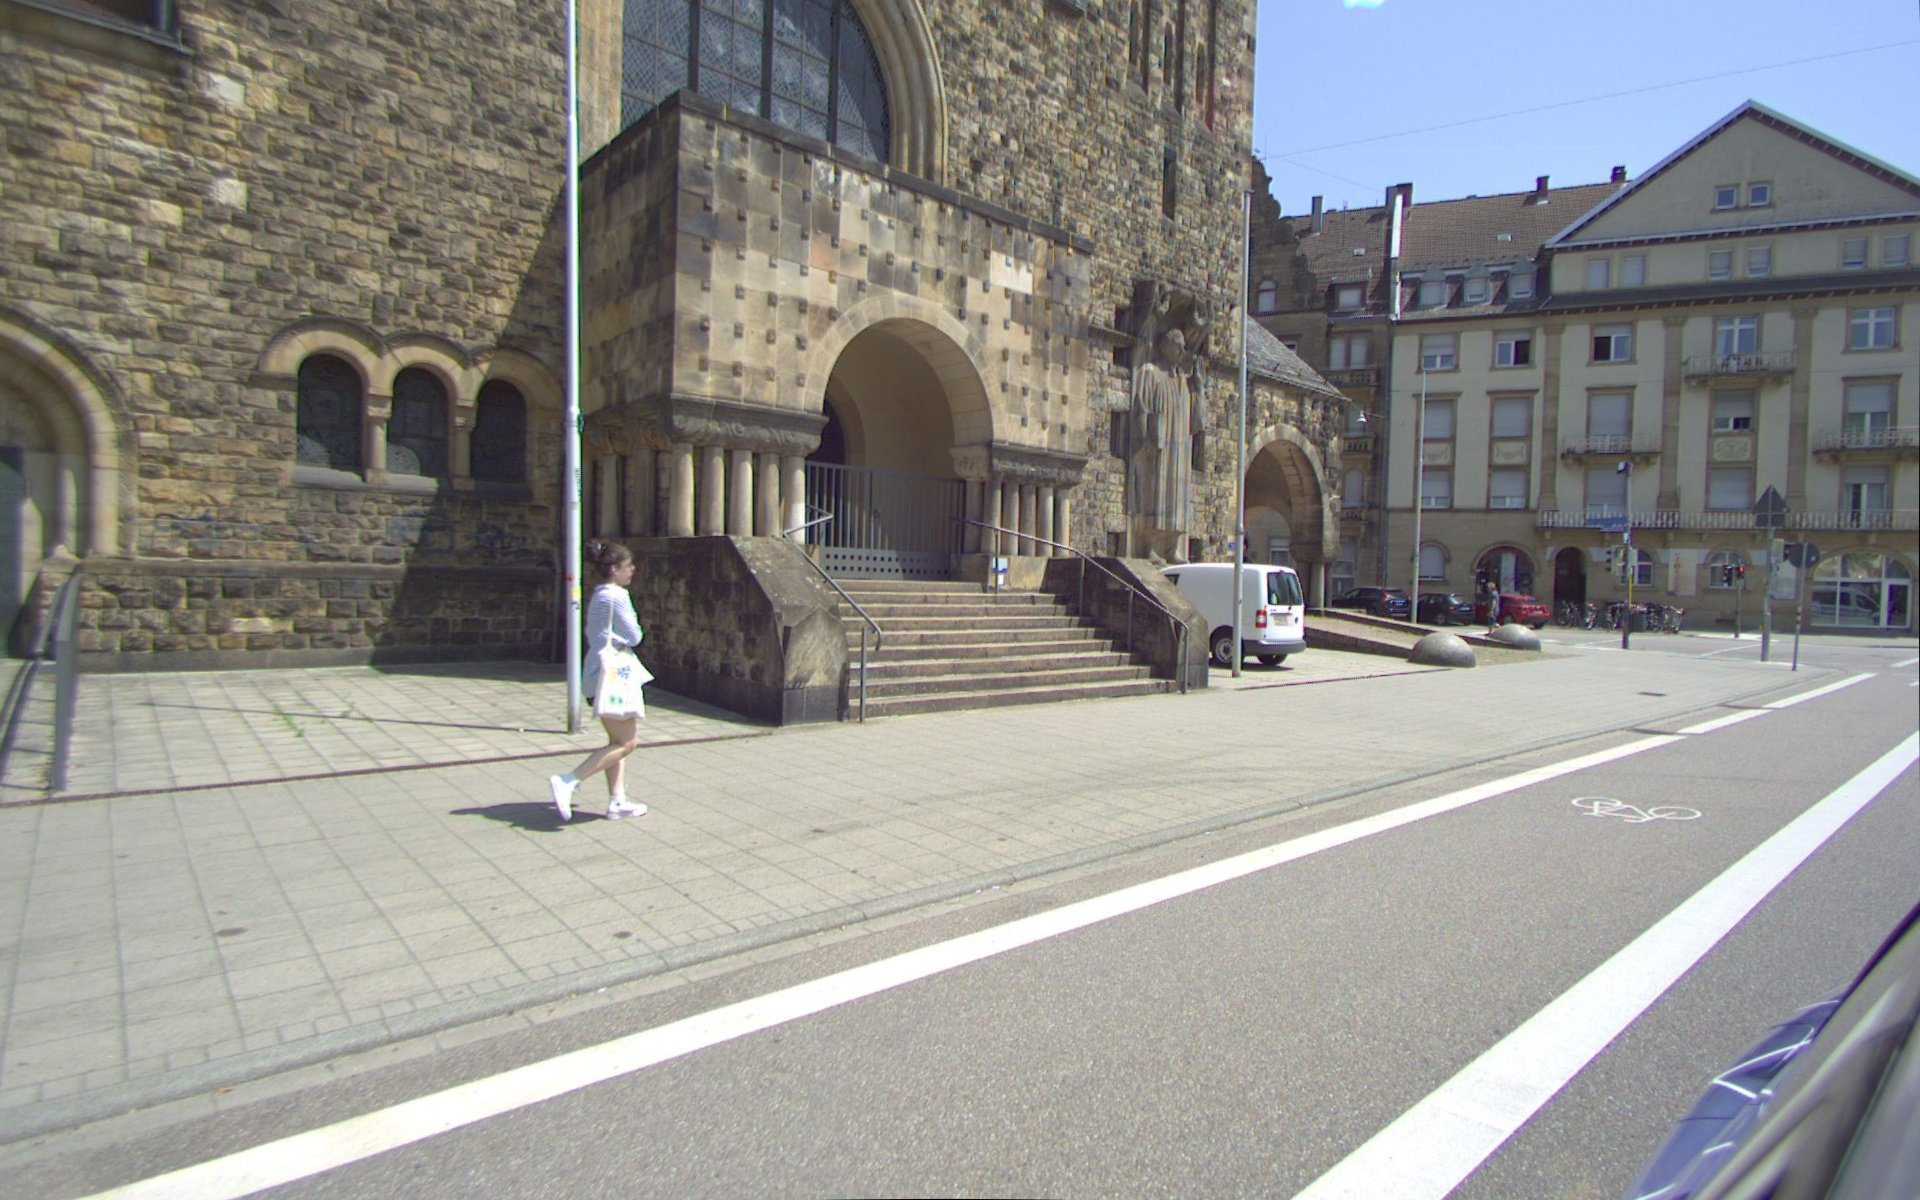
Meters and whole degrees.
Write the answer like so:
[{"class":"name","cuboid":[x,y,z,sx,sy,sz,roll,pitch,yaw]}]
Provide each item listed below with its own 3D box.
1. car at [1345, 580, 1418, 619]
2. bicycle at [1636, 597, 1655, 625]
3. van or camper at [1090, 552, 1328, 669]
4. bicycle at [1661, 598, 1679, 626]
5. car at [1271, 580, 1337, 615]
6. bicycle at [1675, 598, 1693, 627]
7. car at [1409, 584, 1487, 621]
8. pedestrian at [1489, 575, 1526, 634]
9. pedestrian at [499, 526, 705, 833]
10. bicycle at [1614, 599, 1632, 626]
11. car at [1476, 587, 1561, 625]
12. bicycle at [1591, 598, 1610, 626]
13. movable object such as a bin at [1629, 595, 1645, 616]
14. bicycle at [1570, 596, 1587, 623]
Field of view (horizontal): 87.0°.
[{"class":"car","cuboid":[20.277,-0.052,48.851,1.583,1.685,3.235,-1,3,-15]},{"class":"bicycle","cuboid":[31.050,0.497,45.826,0.562,1.165,1.781,1,2,37]},{"class":"van or camper","cuboid":[4.574,0.100,19.030,1.772,1.847,3.994,-1,4,-42]},{"class":"bicycle","cuboid":[31.881,0.513,45.444,0.562,1.165,1.781,1,2,37]},{"class":"car","cuboid":[17.130,-0.155,50.544,1.583,1.594,3.235,-1,3,-15]},{"class":"bicycle","cuboid":[31.427,0.526,43.934,0.562,1.165,2.033,1,2,38]},{"class":"car","cuboid":[22.934,0.092,47.665,1.583,1.496,3.235,-1,3,-15]},{"class":"pedestrian","cuboid":[17.539,0.129,32.421,0.817,1.845,0.745,0,1,-34]},{"class":"pedestrian","cuboid":[-2.165,0.421,6.120,0.949,1.671,0.795,0,1,-40]},{"class":"bicycle","cuboid":[30.178,0.558,46.070,0.562,1.165,1.781,1,2,37]},{"class":"car","cuboid":[25.500,0.245,46.307,1.583,1.496,3.235,-1,3,-15]},{"class":"bicycle","cuboid":[29.112,0.544,45.982,0.562,1.165,1.781,1,2,37]},{"class":"movable object such as a bin","cuboid":[32.324,0.248,48.308,0.586,1.007,0.576,1,1,32]},{"class":"bicycle","cuboid":[27.922,0.415,45.692,0.560,1.165,1.787,1,2,29]}]
